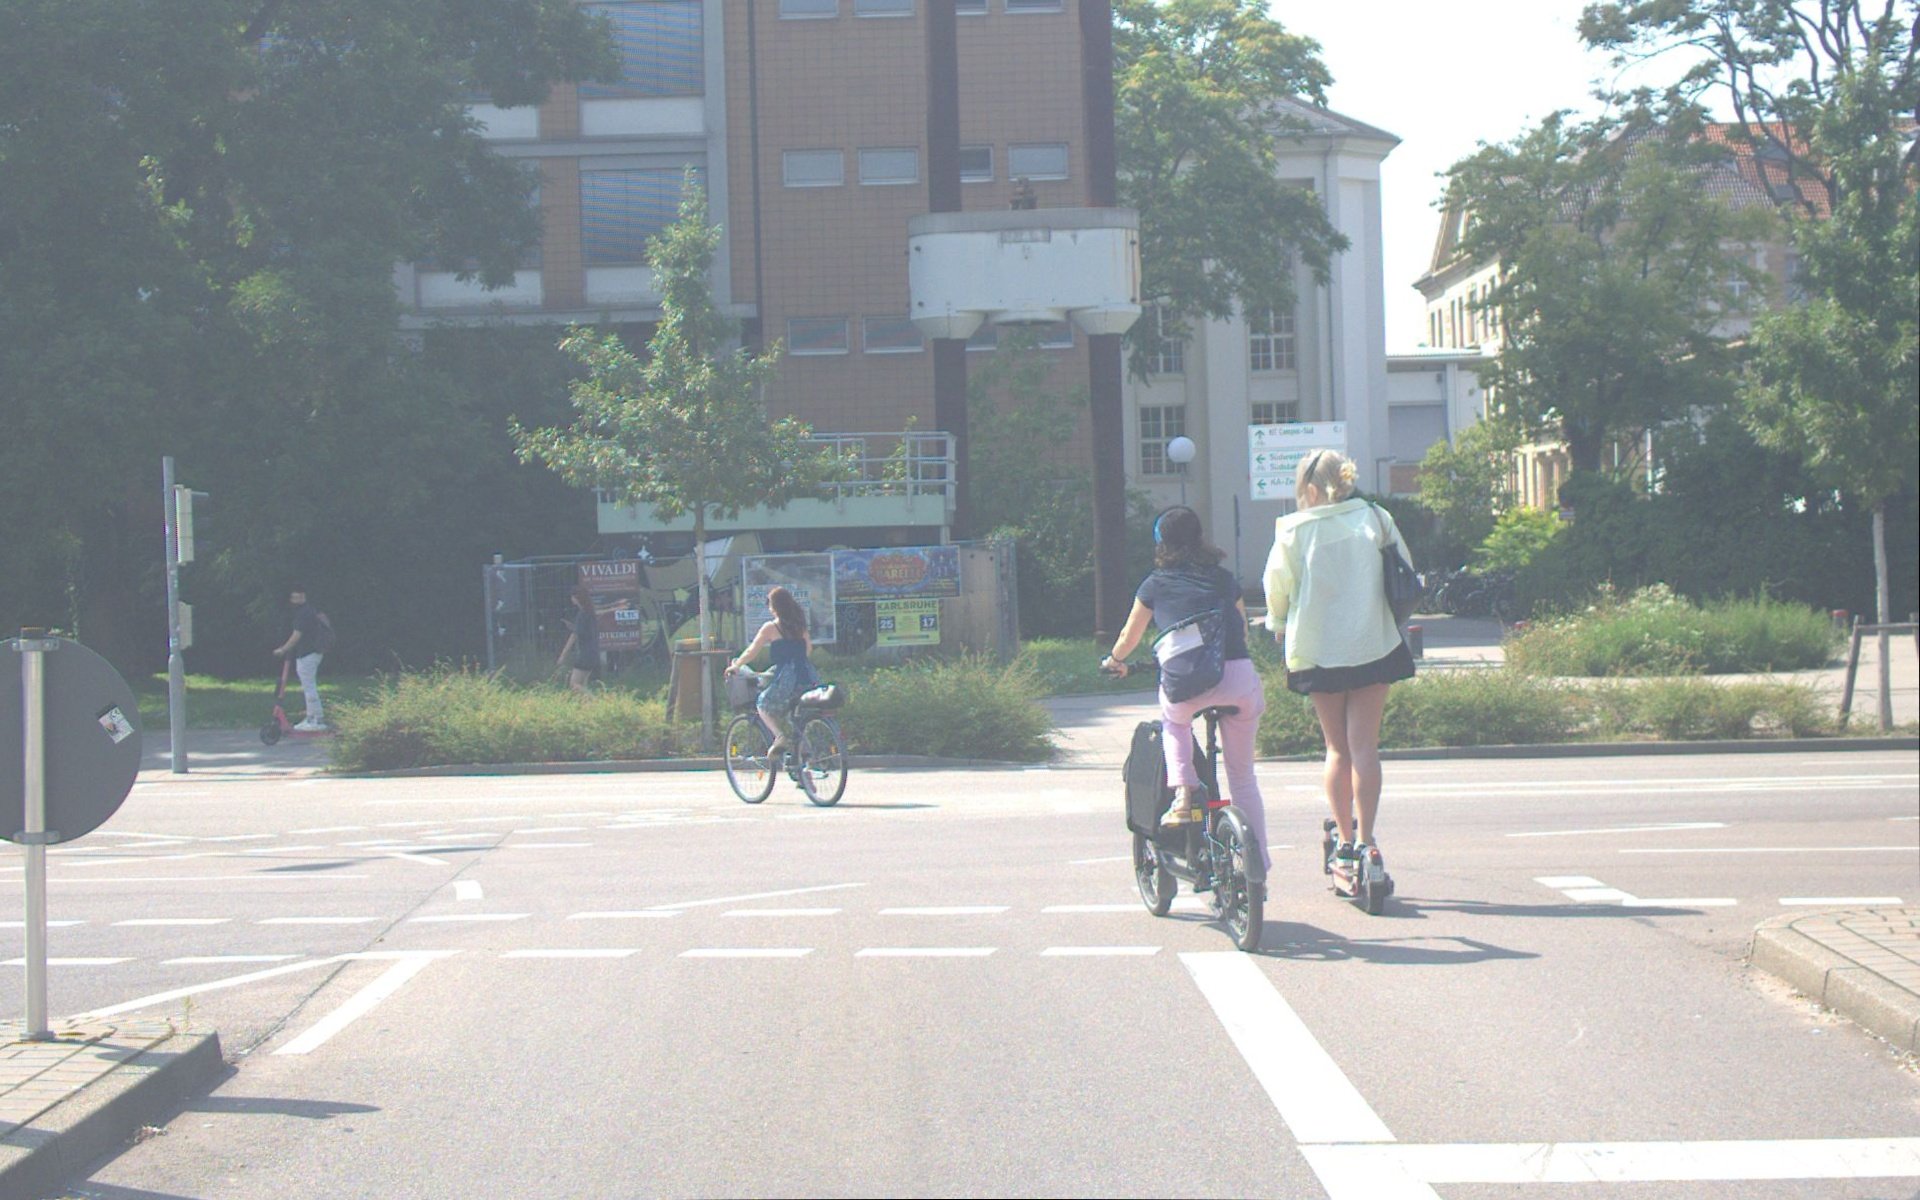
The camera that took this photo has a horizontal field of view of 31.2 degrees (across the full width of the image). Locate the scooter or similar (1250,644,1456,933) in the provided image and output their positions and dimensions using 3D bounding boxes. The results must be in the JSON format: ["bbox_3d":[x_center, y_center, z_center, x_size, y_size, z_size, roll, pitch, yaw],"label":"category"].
[{"bbox_3d":[1.600,0.740,14.257,0.556,1.056,2.004,-2,0,-1],"label":"scooter or similar"}]

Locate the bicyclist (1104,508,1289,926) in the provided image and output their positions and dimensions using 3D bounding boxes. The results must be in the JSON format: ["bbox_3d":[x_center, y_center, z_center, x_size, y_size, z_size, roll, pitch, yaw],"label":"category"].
[{"bbox_3d":[0.873,0.419,12.854,0.548,1.491,0.804,-3,1,-1],"label":"bicyclist"}]

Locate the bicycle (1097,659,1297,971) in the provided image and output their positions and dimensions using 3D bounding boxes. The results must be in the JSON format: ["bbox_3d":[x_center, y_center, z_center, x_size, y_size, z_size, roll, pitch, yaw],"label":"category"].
[{"bbox_3d":[0.889,0.789,13.322,0.556,1.056,2.004,-3,0,-1],"label":"bicycle"}]

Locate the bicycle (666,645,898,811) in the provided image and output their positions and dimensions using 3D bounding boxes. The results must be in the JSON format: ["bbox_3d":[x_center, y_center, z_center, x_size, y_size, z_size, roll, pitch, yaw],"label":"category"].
[{"bbox_3d":[-1.411,0.968,26.777,0.694,1.151,2.371,-3,2,-32],"label":"bicycle"}]

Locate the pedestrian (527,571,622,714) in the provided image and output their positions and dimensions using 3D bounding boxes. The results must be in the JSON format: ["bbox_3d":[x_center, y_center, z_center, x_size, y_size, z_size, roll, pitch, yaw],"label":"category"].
[{"bbox_3d":[-4.739,0.519,42.272,0.877,1.698,0.707,-2,2,17],"label":"pedestrian"}]

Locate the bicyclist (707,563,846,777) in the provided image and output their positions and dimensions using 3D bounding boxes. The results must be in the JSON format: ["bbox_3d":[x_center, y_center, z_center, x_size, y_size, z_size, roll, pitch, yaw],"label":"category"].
[{"bbox_3d":[-1.434,0.530,26.769,0.690,1.593,0.844,-4,3,-32],"label":"bicyclist"}]

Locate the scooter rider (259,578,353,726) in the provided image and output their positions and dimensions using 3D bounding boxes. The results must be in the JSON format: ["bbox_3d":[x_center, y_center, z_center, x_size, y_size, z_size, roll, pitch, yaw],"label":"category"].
[{"bbox_3d":[-7.864,0.626,41.353,0.803,1.733,0.688,-1,2,21],"label":"scooter rider"}]

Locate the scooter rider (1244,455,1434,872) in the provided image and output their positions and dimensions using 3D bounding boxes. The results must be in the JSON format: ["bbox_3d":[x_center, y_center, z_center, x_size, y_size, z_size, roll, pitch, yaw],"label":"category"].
[{"bbox_3d":[1.580,0.260,14.413,0.670,1.694,0.539,-2,0,-1],"label":"scooter rider"}]

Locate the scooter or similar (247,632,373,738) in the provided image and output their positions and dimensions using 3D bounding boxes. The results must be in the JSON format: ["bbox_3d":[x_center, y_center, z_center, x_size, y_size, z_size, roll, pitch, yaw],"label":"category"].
[{"bbox_3d":[-7.829,1.022,41.417,1.365,1.230,0.585,-2,1,22],"label":"scooter or similar"}]
